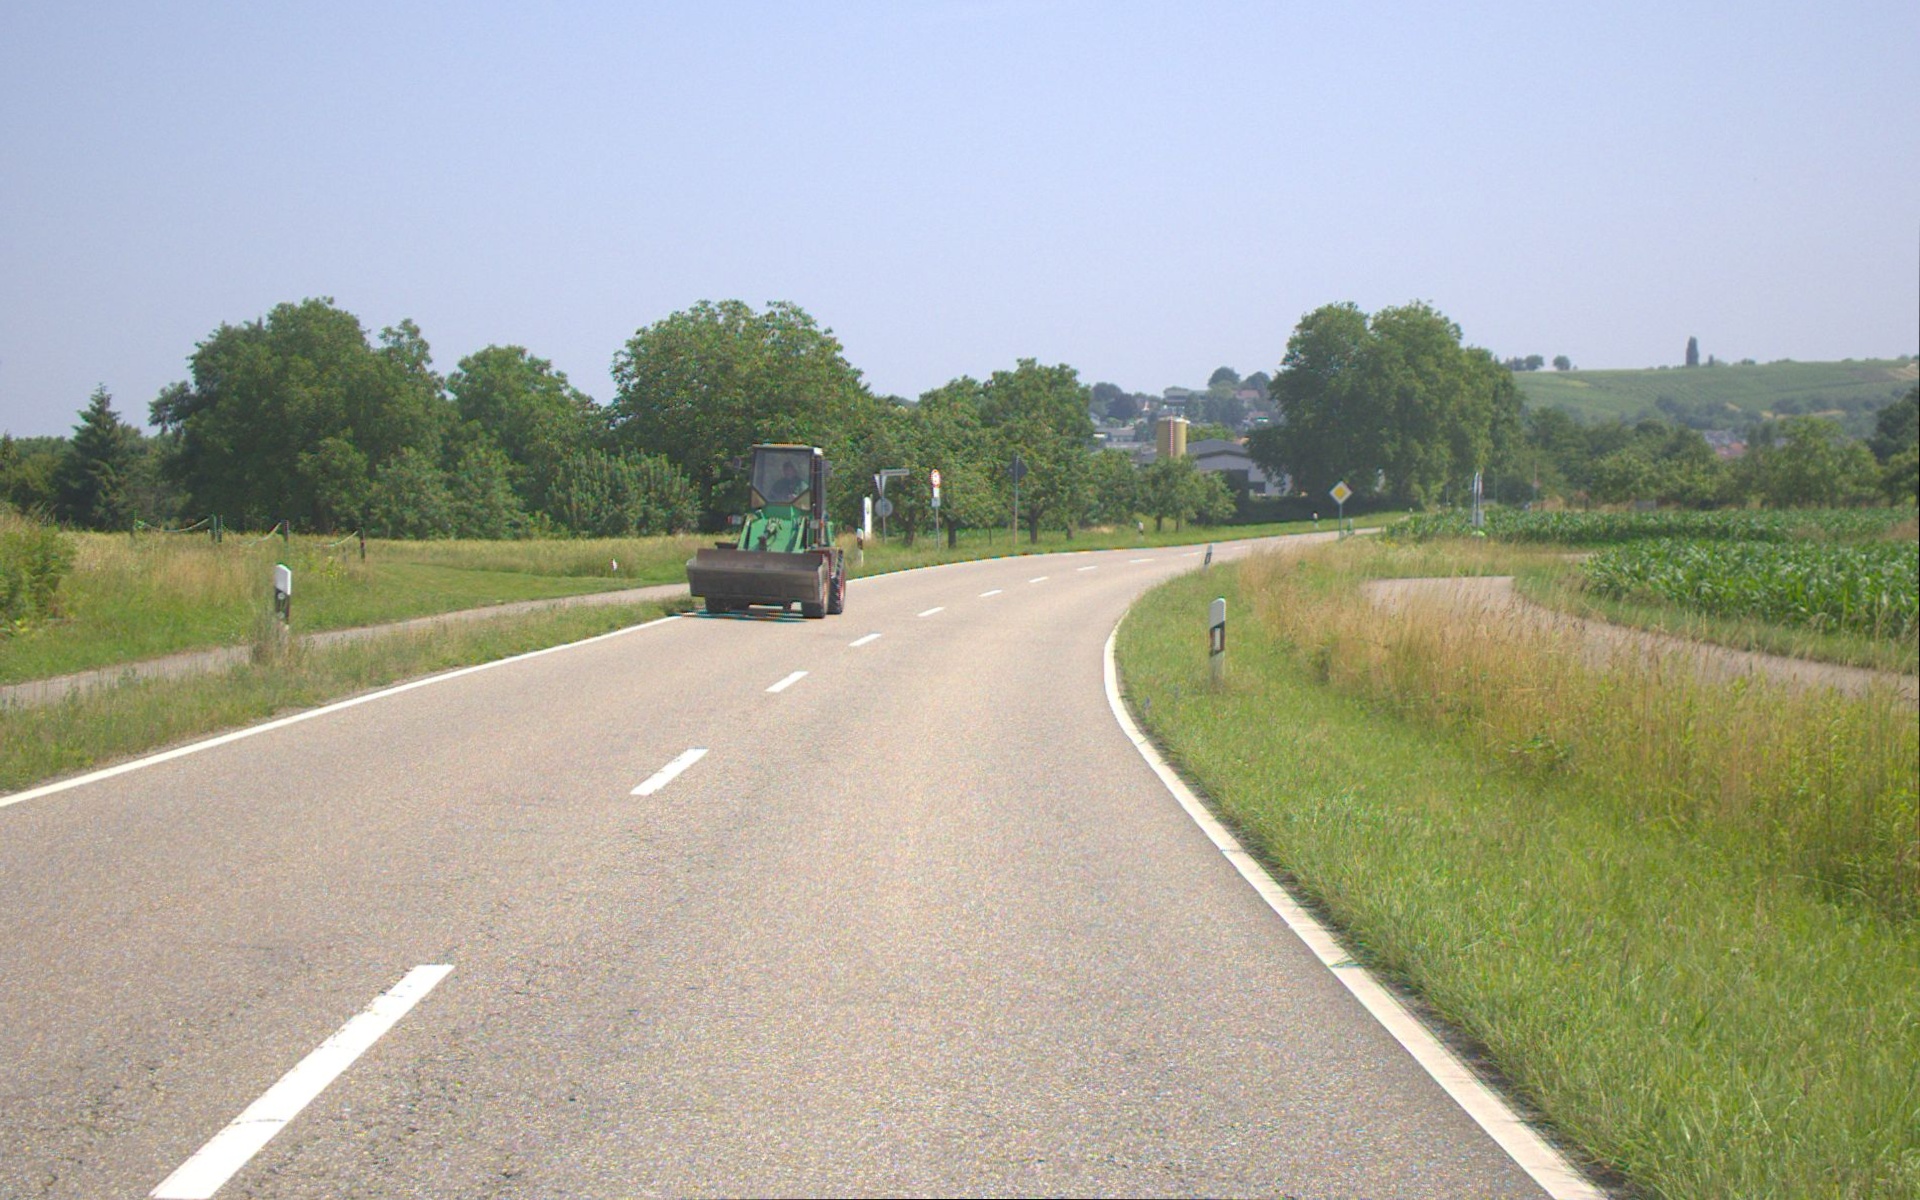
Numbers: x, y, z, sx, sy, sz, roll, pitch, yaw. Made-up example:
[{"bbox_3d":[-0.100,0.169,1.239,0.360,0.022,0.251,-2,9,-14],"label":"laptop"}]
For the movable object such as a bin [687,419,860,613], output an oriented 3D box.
[{"bbox_3d":[-2.808,-1.300,52.803,2.001,2.745,5.230,2,2,3],"label":"movable object such as a bin"}]
